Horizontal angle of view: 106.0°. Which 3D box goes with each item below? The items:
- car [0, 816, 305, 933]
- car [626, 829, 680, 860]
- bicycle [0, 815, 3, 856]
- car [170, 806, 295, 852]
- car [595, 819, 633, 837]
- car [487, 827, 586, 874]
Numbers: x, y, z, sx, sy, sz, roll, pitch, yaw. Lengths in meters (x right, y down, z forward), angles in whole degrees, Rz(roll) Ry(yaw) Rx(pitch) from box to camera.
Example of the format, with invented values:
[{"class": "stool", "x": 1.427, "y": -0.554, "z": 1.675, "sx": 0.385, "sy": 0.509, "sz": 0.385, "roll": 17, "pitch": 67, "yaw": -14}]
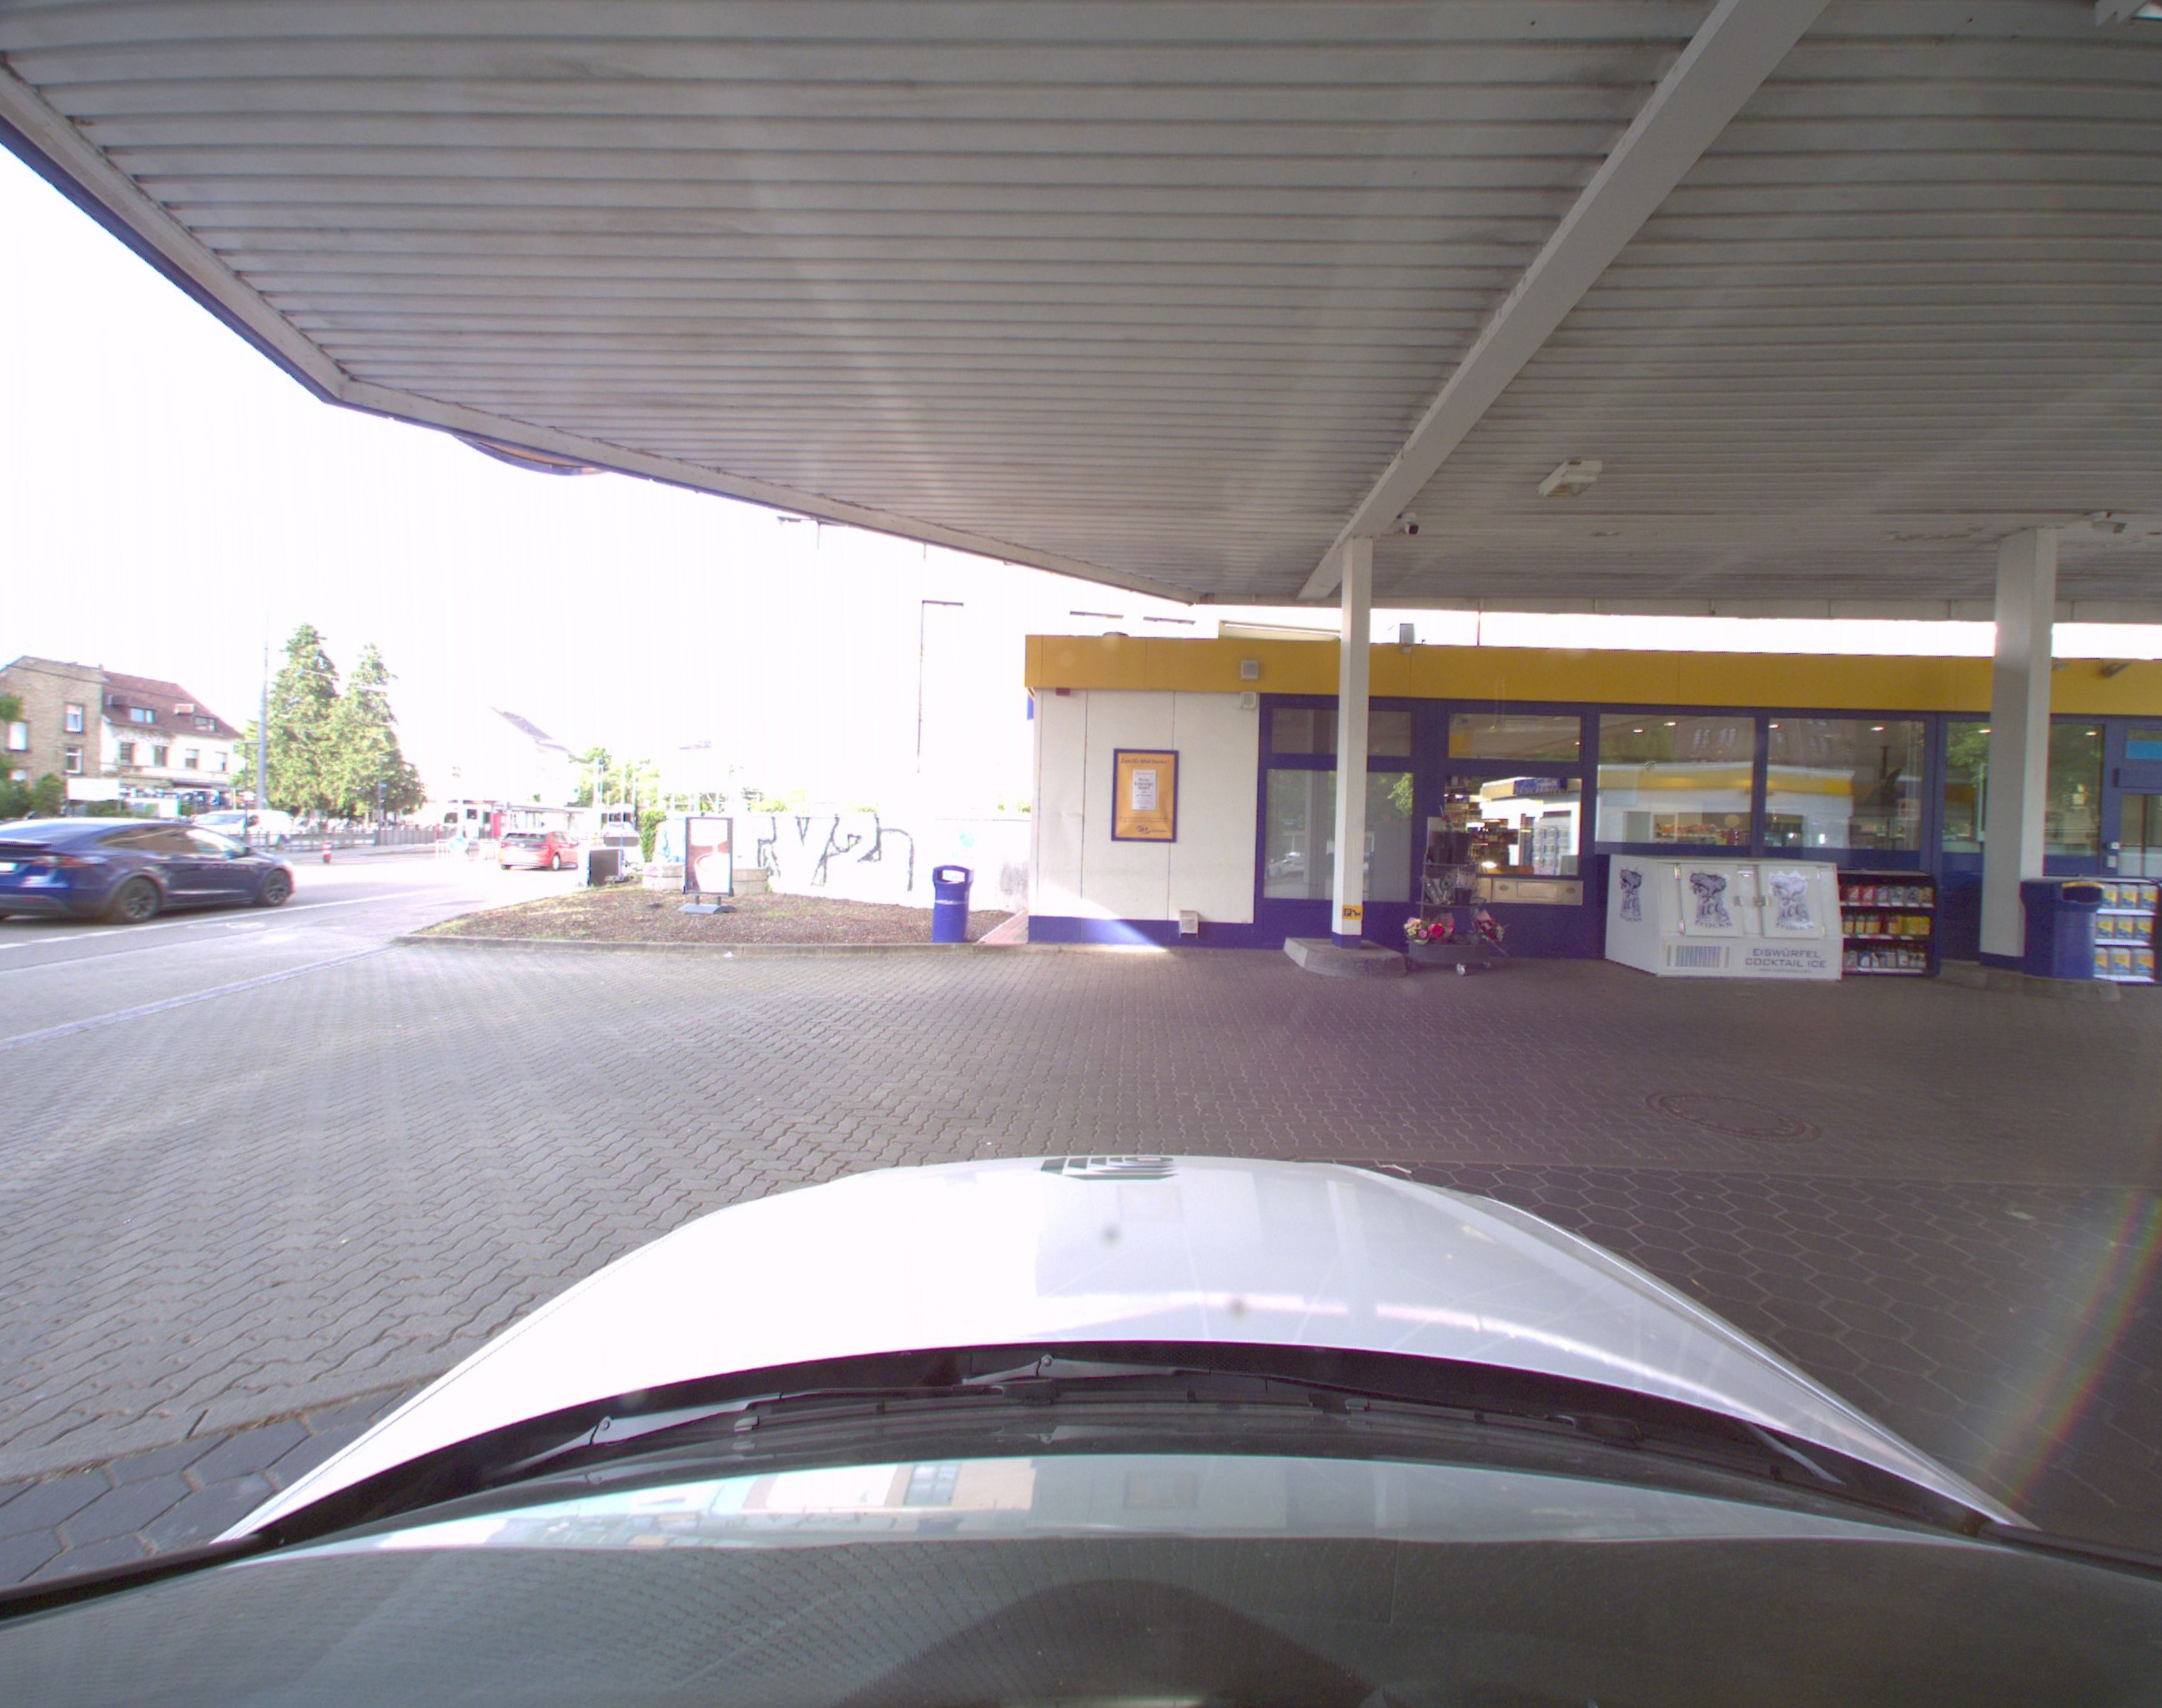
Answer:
[{"class": "car", "x": -16.106, "y": 0.249, "z": 13.996, "sx": 1.767, "sy": 1.657, "sz": 4.828, "roll": 2, "pitch": 0, "yaw": -14}, {"class": "car", "x": -23.753, "y": -0.553, "z": 45.306, "sx": 1.728, "sy": 1.542, "sz": 3.981, "roll": 2, "pitch": 1, "yaw": -15}, {"class": "bicycle", "x": -39.394, "y": -0.655, "z": 28.744, "sx": 0.790, "sy": 1.492, "sz": 1.974, "roll": 4, "pitch": 0, "yaw": -27}, {"class": "car", "x": -38.113, "y": -1.101, "z": 36.755, "sx": 1.967, "sy": 1.889, "sz": 4.387, "roll": 1, "pitch": 0, "yaw": -17}, {"class": "car", "x": -51.336, "y": -2.863, "z": 89.596, "sx": 1.993, "sy": 1.968, "sz": 4.875, "roll": 1, "pitch": 1, "yaw": -9}, {"class": "car", "x": -20.217, "y": -0.155, "z": 30.436, "sx": 1.767, "sy": 1.543, "sz": 4.111, "roll": 2, "pitch": 0, "yaw": -15}]
